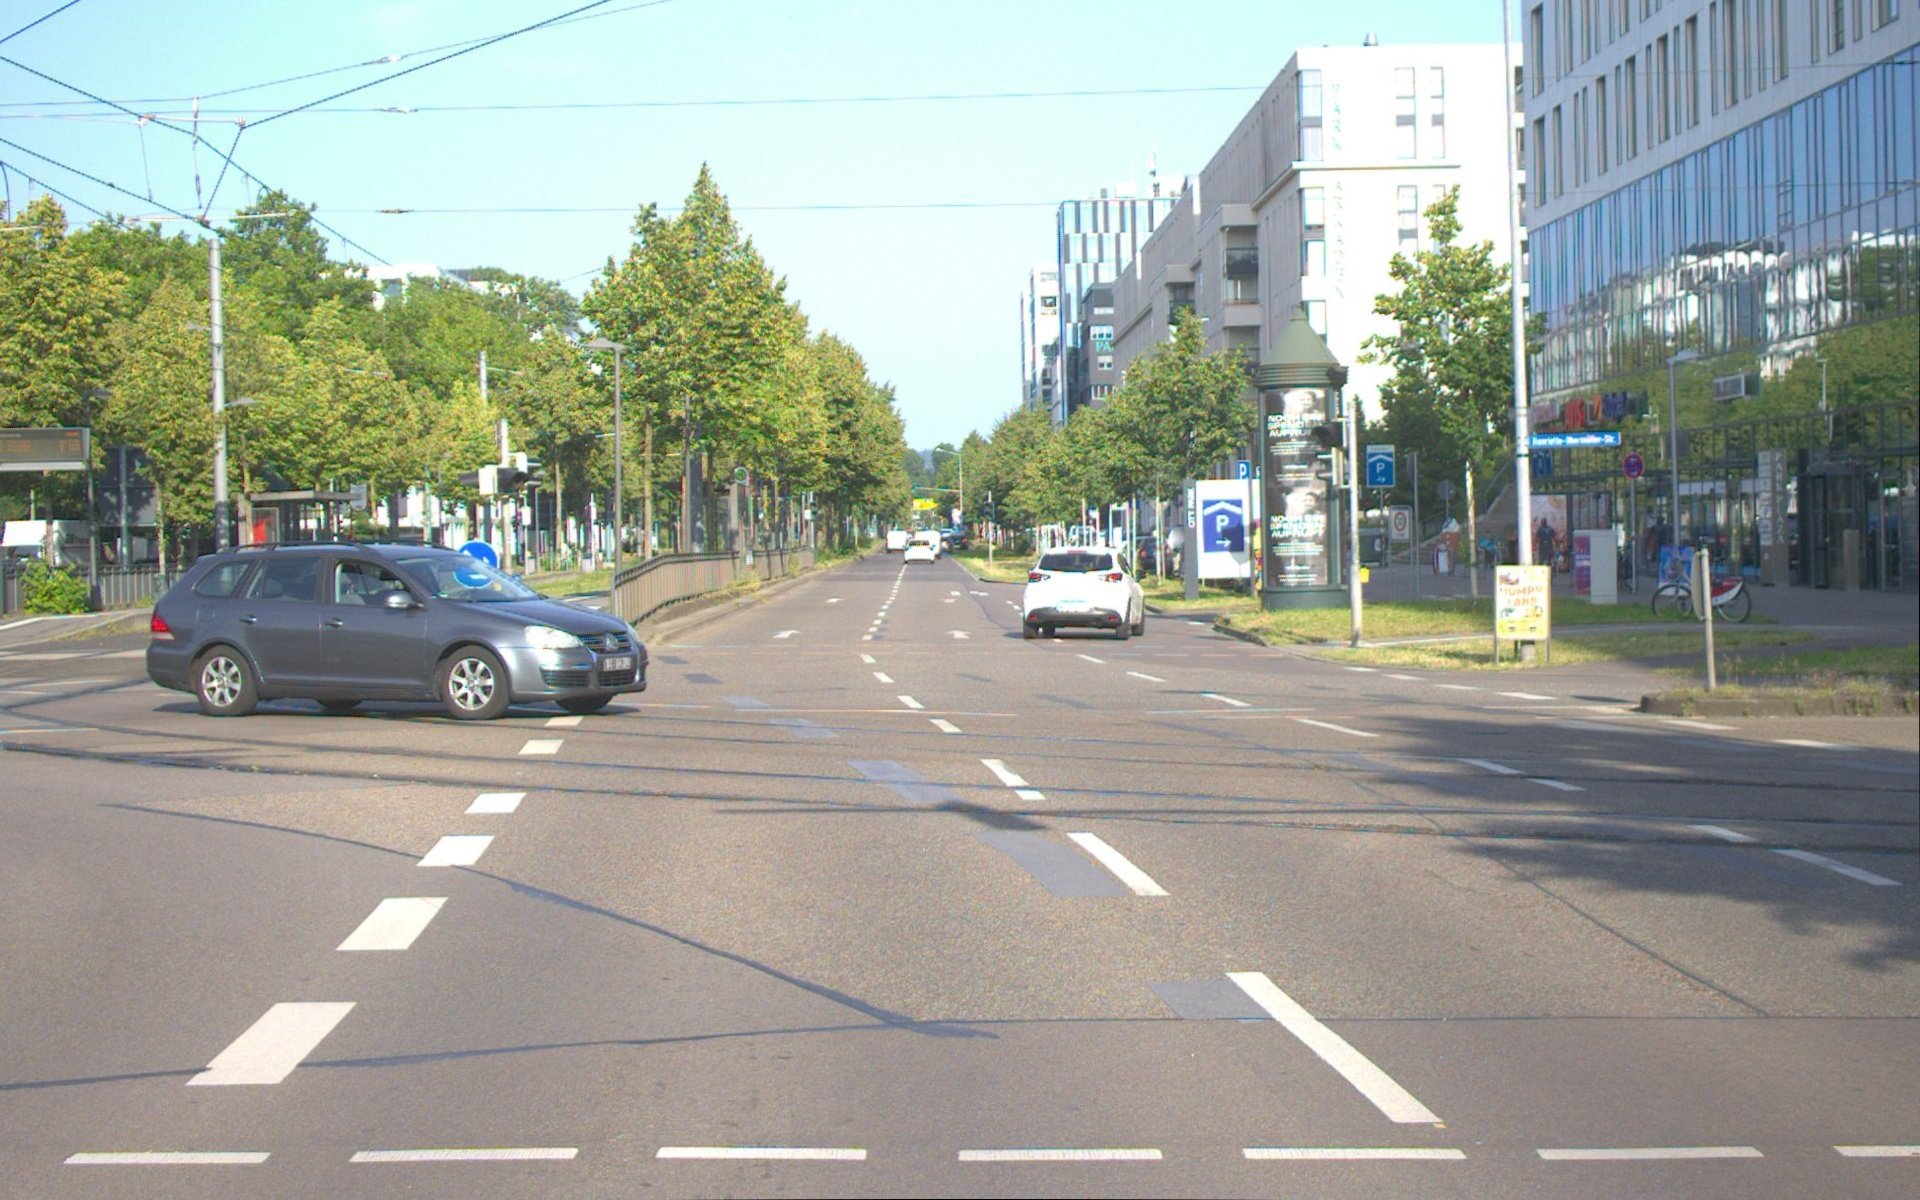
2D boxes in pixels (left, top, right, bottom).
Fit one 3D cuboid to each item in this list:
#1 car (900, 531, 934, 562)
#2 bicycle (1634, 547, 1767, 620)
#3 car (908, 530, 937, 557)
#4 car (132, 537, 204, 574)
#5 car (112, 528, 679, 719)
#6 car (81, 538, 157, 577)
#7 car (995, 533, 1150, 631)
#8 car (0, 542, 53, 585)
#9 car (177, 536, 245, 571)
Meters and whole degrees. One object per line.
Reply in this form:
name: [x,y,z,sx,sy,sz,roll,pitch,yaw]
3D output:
car: [-2.406,-3.023,194.632,1.864,1.678,4.000,1,2,0]
bicycle: [11.398,-0.266,52.963,0.771,1.028,1.878,-2,4,-44]
car: [-2.450,-3.706,224.852,1.864,1.678,4.000,1,2,0]
car: [-34.420,-1.947,149.515,1.881,1.554,3.999,-1,1,5]
car: [-4.796,0.206,29.065,4.566,1.456,1.732,-2,1,28]
car: [-35.064,-1.785,143.394,1.881,1.554,3.999,-1,1,5]
car: [1.867,-0.299,55.743,1.994,1.499,4.091,-1,0,9]
car: [-35.695,-1.369,129.097,1.881,1.554,3.999,-1,1,5]
car: [-33.947,-2.119,155.937,1.881,1.554,3.999,-1,1,5]
